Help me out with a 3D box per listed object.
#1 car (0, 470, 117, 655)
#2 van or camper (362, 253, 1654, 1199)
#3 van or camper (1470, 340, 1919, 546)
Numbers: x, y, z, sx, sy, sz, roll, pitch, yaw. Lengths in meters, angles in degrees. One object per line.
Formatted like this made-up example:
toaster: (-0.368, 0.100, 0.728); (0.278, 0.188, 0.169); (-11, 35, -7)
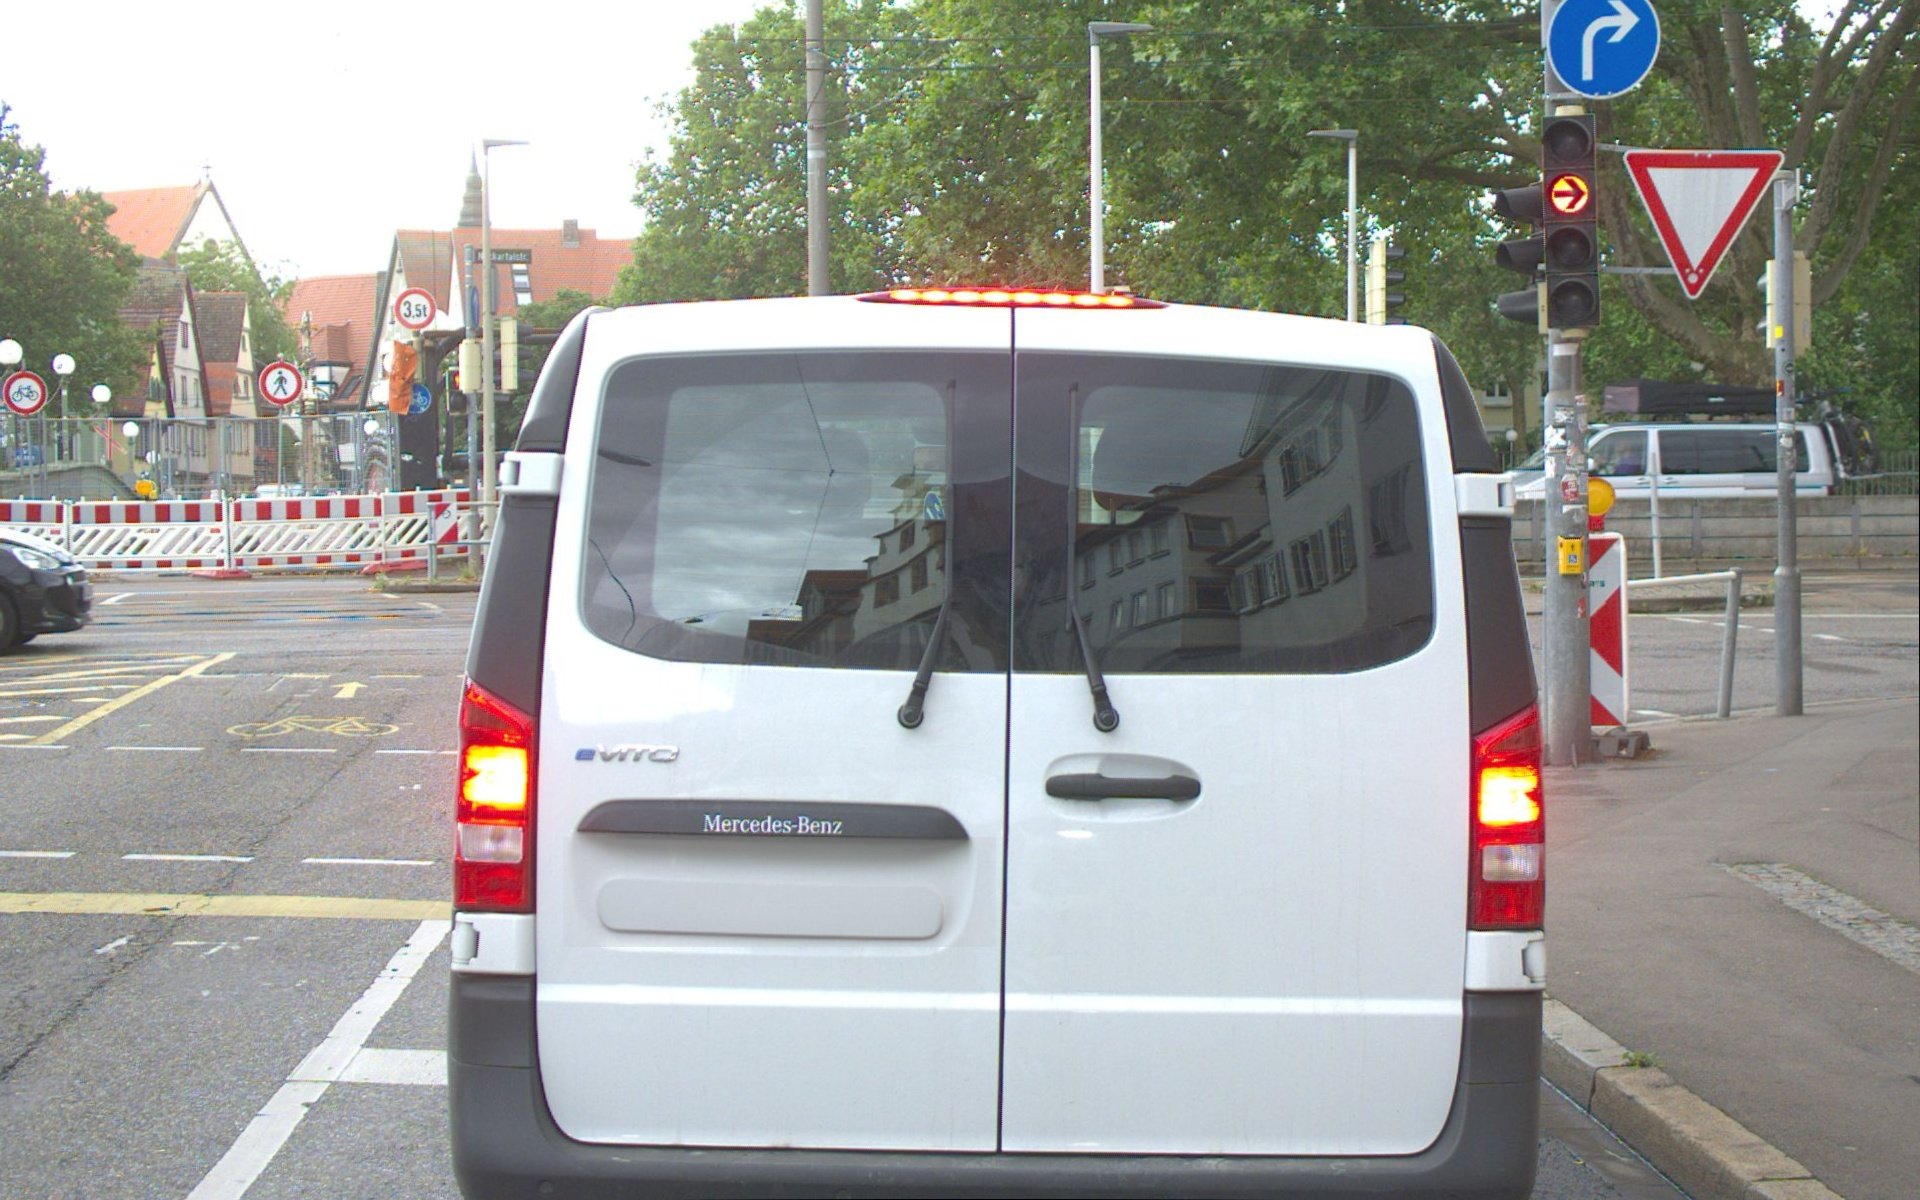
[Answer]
car: (-8.830, -0.290, 27.700); (3.743, 1.423, 1.829); (-1, 3, -8)
van or camper: (-0.065, 0.343, 7.426); (1.937, 1.918, 4.442); (1, 3, -4)
van or camper: (9.658, -2.049, 45.340); (5.390, 2.505, 2.037); (-1, 0, -8)
